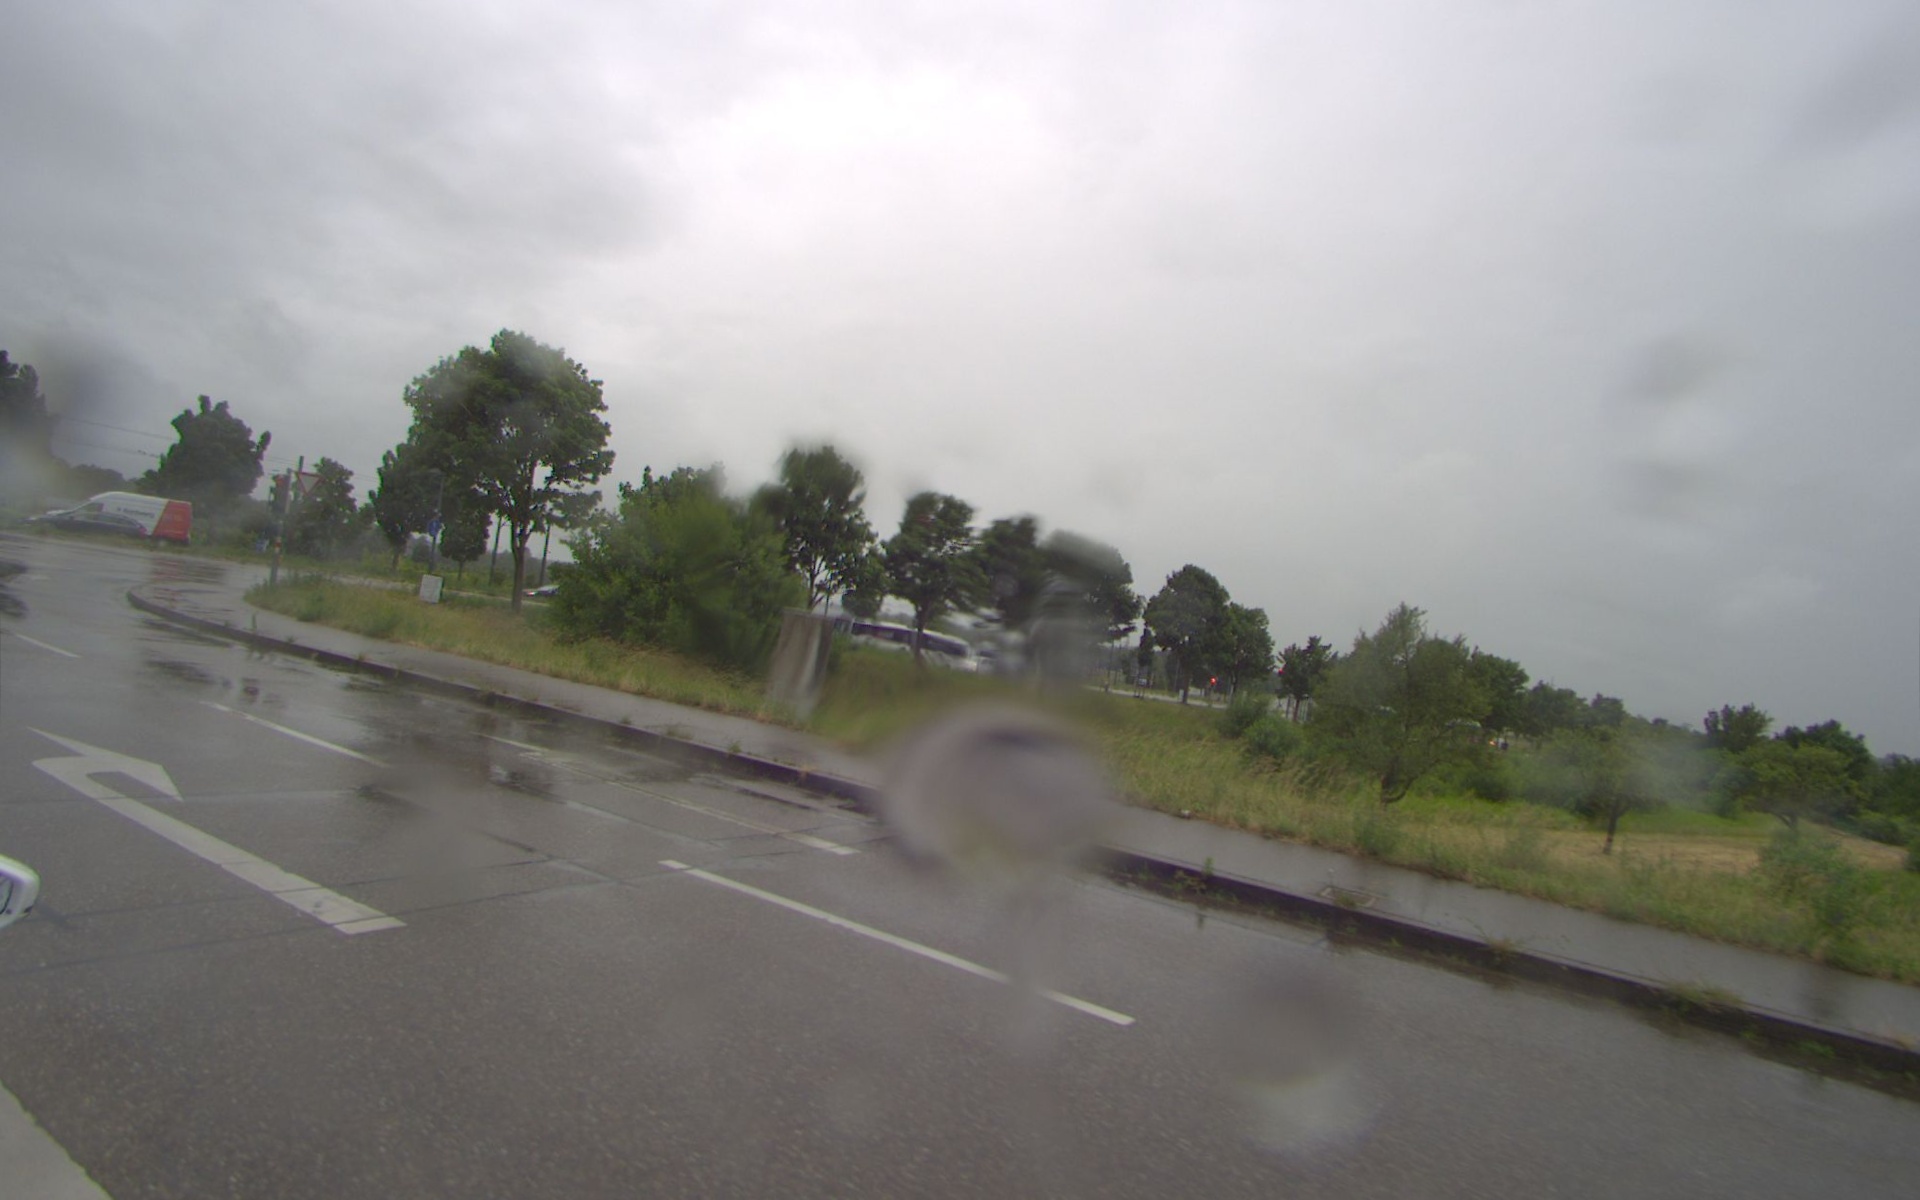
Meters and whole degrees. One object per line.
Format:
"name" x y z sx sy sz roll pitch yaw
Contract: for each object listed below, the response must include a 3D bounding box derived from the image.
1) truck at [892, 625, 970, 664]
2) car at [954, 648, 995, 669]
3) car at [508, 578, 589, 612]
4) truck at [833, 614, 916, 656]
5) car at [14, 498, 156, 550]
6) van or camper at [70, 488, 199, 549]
"truck" -2.953 4.724 105.628 2.615 2.802 9.333 8 -3 37
"car" 1.539 6.128 105.130 1.794 1.570 4.678 7 -4 36
"car" -27.230 -0.294 66.710 1.793 1.571 4.677 8 -2 34
"truck" -8.250 3.454 98.360 2.615 2.863 8.830 8 -3 37
"car" -41.409 -3.575 47.728 1.794 1.571 4.674 8 -2 36
"van or camper" -42.823 -4.207 52.269 2.133 2.193 4.841 7 -3 45
